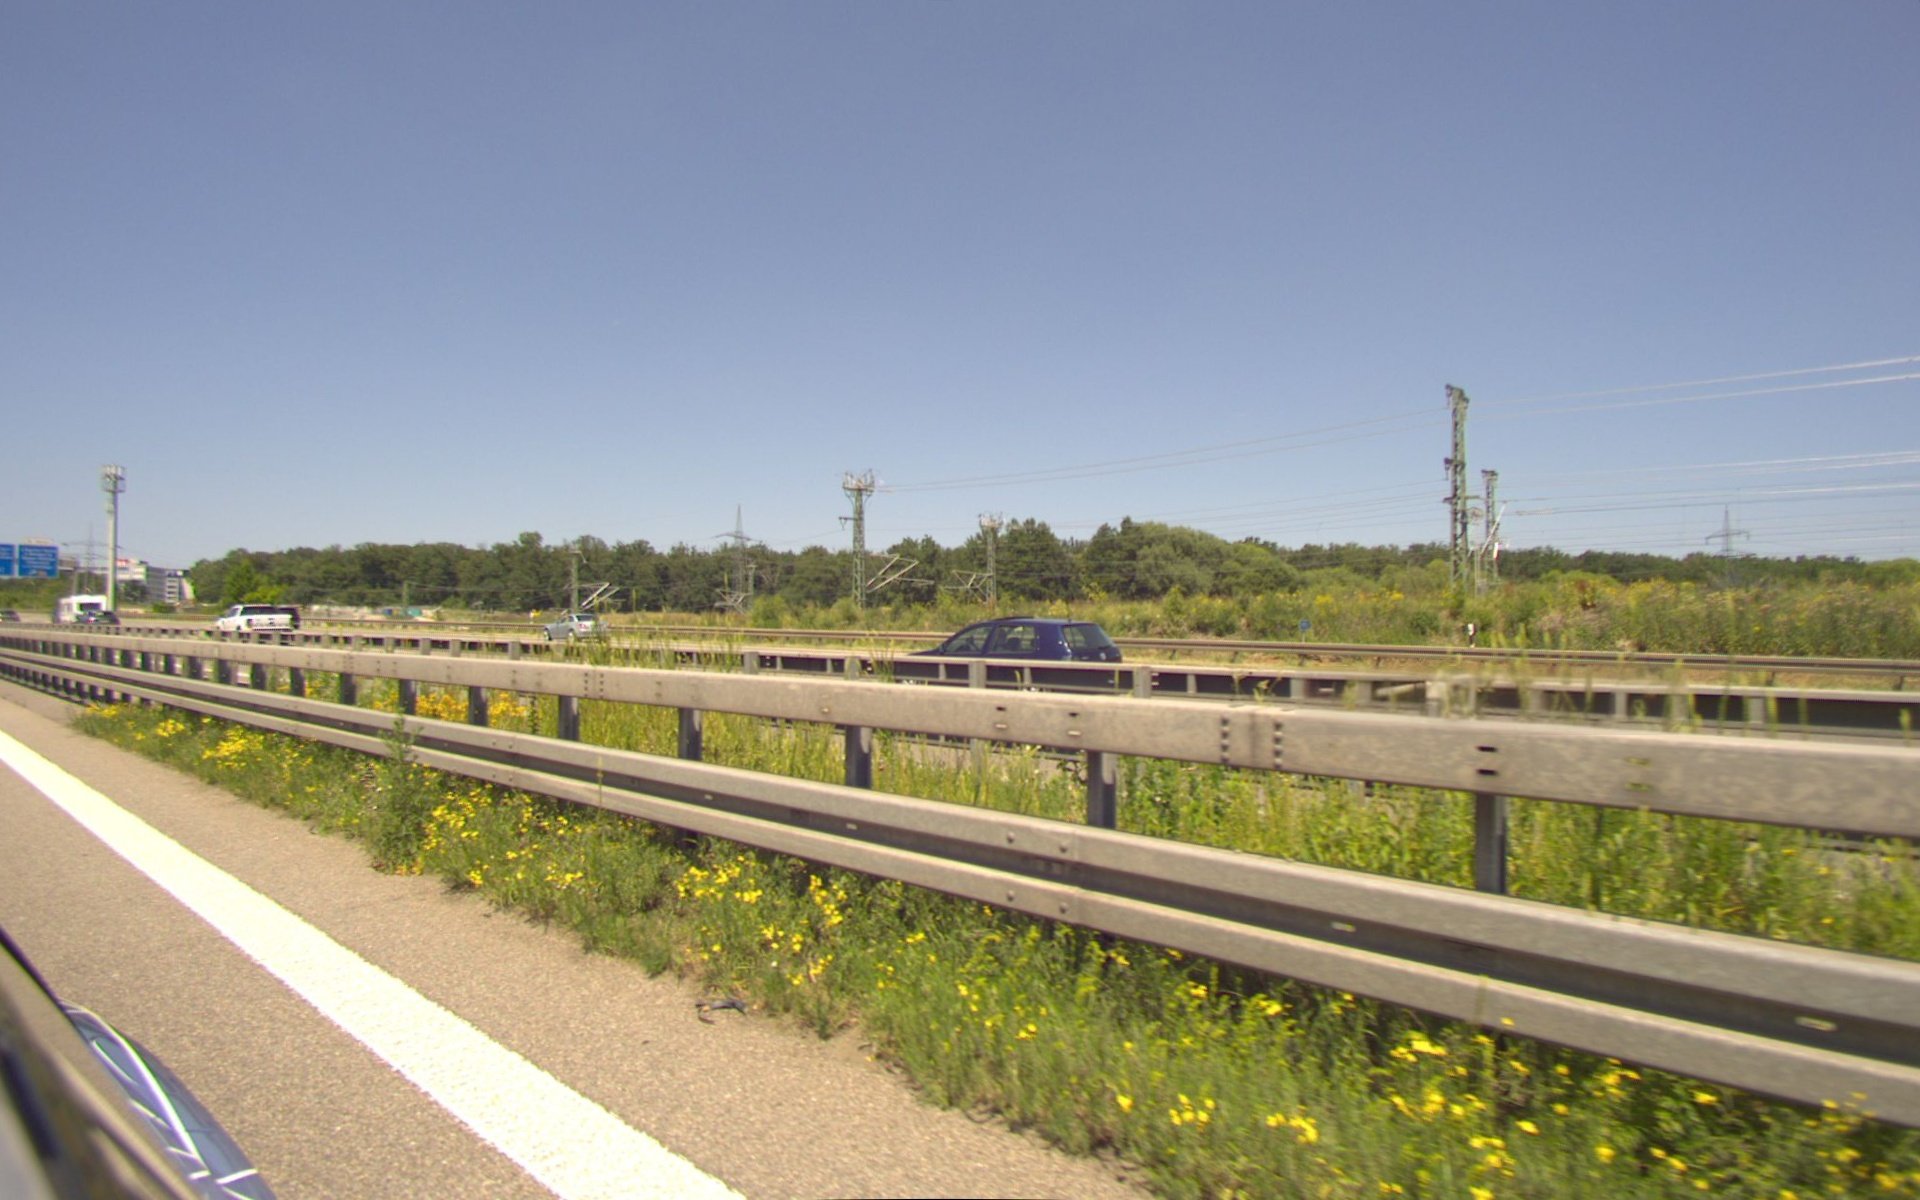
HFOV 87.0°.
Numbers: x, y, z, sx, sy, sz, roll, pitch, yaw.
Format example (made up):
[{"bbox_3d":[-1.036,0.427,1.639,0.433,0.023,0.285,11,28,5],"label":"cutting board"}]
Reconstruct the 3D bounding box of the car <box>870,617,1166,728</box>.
[{"bbox_3d":[0.805,1.030,16.047,4.474,1.495,1.909,-1,-1,41],"label":"car"}]

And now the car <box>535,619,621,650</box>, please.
[{"bbox_3d":[-17.649,1.556,46.727,4.161,1.321,1.973,-1,-1,41],"label":"car"}]

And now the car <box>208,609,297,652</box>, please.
[{"bbox_3d":[-31.802,1.322,45.436,5.596,1.844,1.973,-1,-1,41],"label":"car"}]

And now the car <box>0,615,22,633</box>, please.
[{"bbox_3d":[-85.137,2.090,90.014,4.886,1.520,1.973,0,0,41],"label":"car"}]

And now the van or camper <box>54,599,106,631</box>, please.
[{"bbox_3d":[-76.139,1.274,87.523,7.599,2.677,2.313,-1,-1,41],"label":"van or camper"}]

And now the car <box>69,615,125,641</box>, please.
[{"bbox_3d":[-54.990,1.768,64.442,4.547,1.586,1.973,-1,-1,40],"label":"car"}]
